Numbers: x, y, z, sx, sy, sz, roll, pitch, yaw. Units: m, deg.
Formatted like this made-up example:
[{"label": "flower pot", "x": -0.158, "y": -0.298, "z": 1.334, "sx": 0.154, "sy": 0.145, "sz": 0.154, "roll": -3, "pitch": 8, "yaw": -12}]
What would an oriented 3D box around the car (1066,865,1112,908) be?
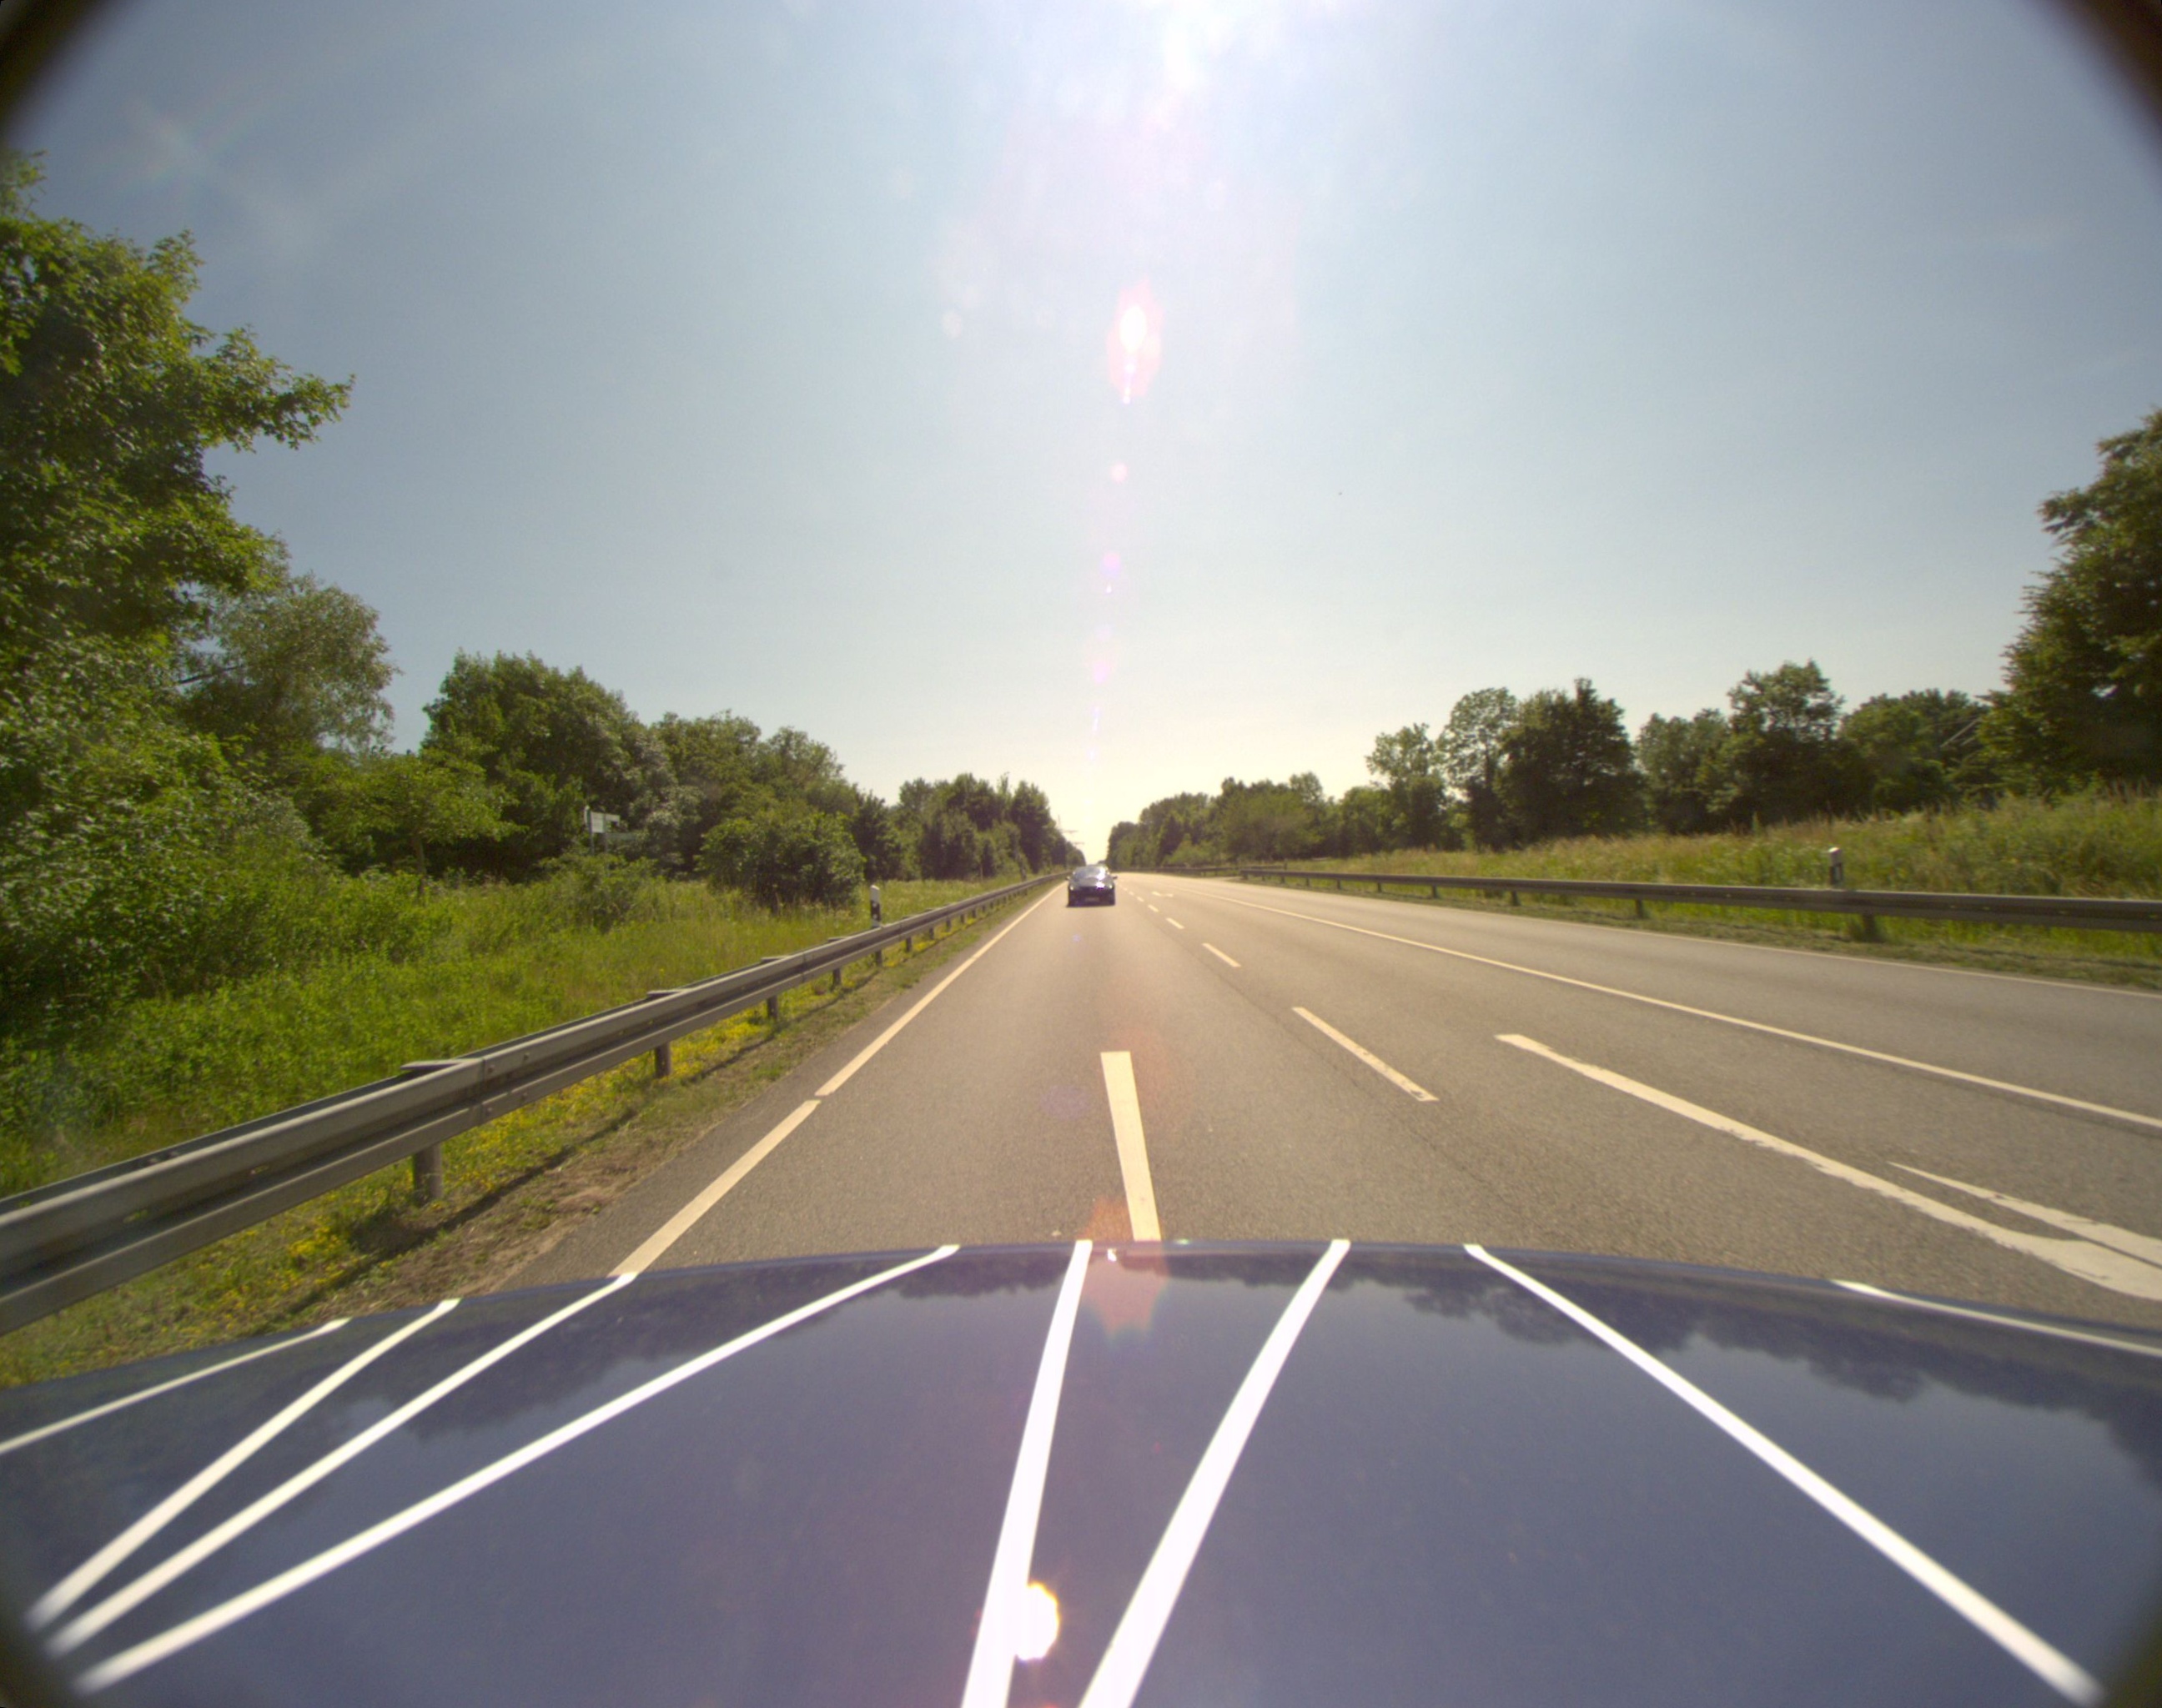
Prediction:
[{"label": "car", "x": 0.310, "y": 1.131, "z": 27.723, "sx": 1.529, "sy": 1.387, "sz": 3.443, "roll": -1, "pitch": 0, "yaw": 1}]
